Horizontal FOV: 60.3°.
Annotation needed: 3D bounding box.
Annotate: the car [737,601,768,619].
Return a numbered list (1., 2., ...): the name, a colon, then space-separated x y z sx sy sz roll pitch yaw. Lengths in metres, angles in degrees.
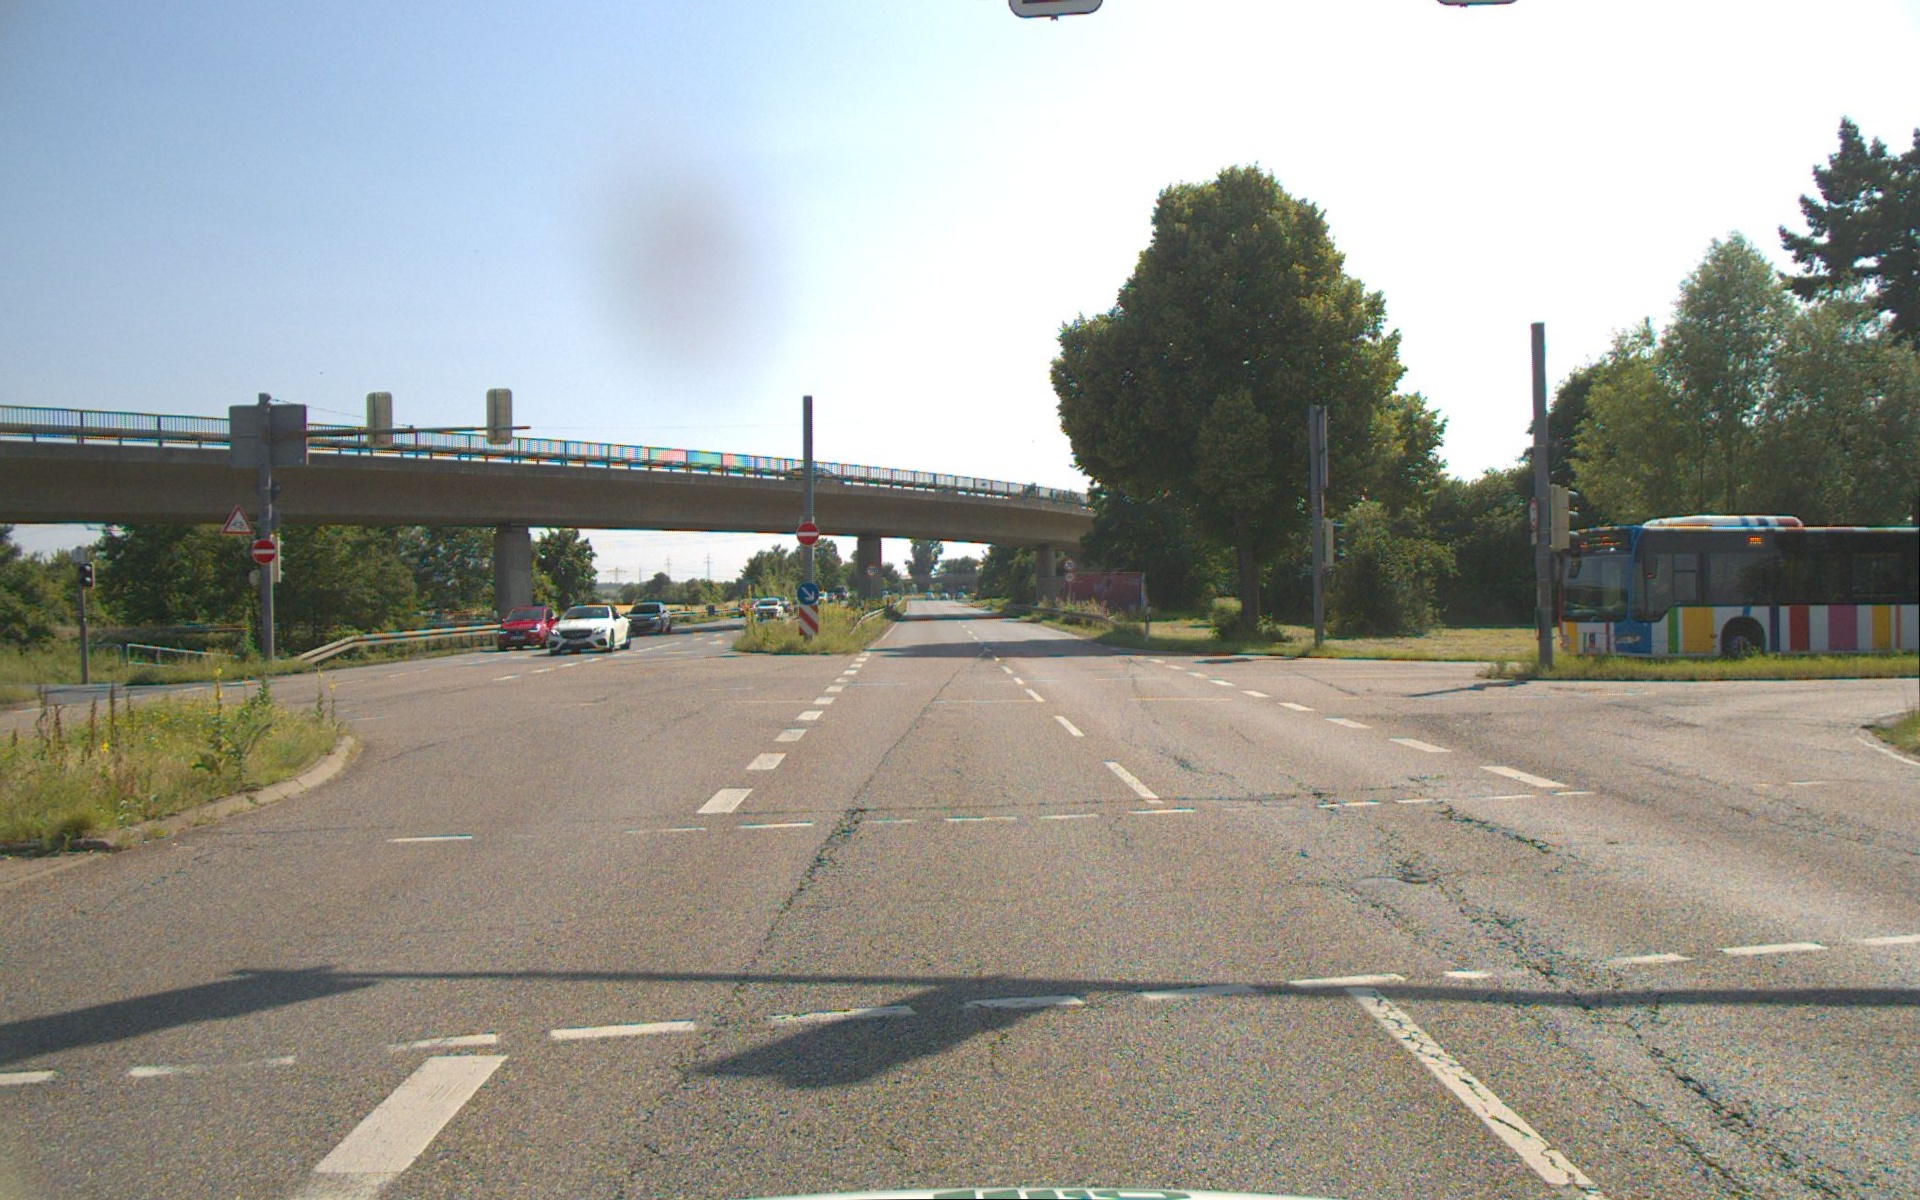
1. car: -18.666 0.898 149.030 1.951 1.585 4.002 -2 0 5

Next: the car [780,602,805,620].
1. car: -12.925 0.859 127.604 1.525 1.281 3.999 -2 0 -1

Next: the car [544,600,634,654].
1. car: -11.257 0.798 50.435 1.819 1.473 4.239 -3 0 -2

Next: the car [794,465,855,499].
1. car: -7.001 -6.109 85.949 1.507 1.503 3.386 -3 -1 29

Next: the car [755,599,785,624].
1. car: -12.590 0.753 109.686 1.525 1.567 3.999 -2 0 -1

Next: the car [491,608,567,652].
1. car: -14.975 1.020 57.708 1.607 1.409 4.239 -2 0 -2

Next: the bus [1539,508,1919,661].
1. bus: 18.448 -0.421 35.630 11.745 2.927 2.929 -2 0 -16

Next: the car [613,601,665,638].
1. car: -15.157 0.909 78.303 1.754 1.656 3.998 -2 0 -2
